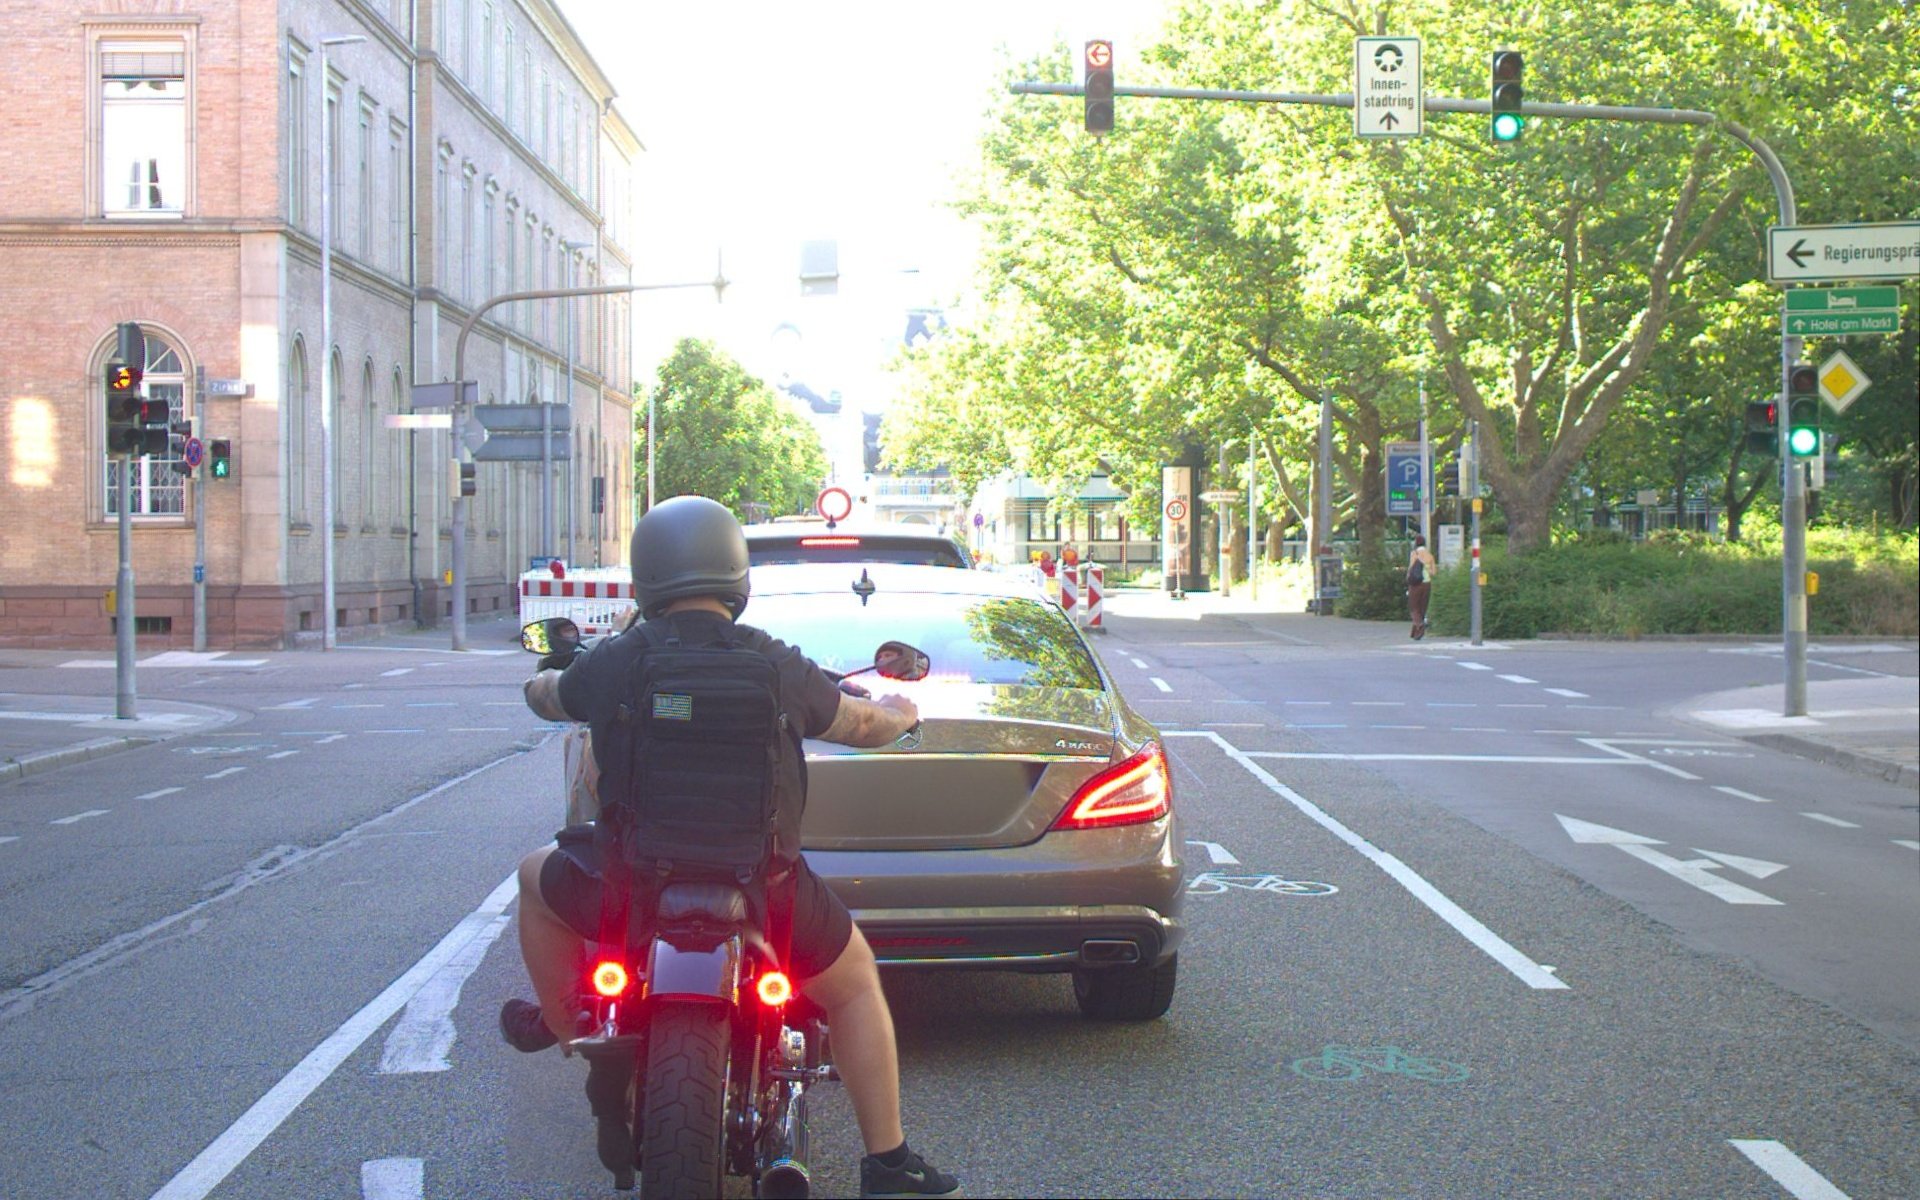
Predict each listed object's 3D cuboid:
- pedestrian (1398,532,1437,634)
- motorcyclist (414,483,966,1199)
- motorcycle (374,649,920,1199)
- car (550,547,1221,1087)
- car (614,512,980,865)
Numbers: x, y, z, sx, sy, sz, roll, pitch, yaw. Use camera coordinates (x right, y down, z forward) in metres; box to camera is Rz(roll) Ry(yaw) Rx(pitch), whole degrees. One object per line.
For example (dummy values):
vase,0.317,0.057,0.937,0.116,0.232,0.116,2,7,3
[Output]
pedestrian,7.581,-0.284,56.933,0.559,1.672,0.565,0,1,-1
motorcyclist,-0.552,0.558,7.544,1.113,1.607,1.202,0,1,-1
motorcycle,-0.595,0.755,7.695,1.007,1.200,2.665,0,1,-1
car,-0.453,0.557,11.642,1.821,1.471,4.354,0,1,-7
car,-0.809,0.376,17.710,1.681,1.619,3.841,0,1,-2
